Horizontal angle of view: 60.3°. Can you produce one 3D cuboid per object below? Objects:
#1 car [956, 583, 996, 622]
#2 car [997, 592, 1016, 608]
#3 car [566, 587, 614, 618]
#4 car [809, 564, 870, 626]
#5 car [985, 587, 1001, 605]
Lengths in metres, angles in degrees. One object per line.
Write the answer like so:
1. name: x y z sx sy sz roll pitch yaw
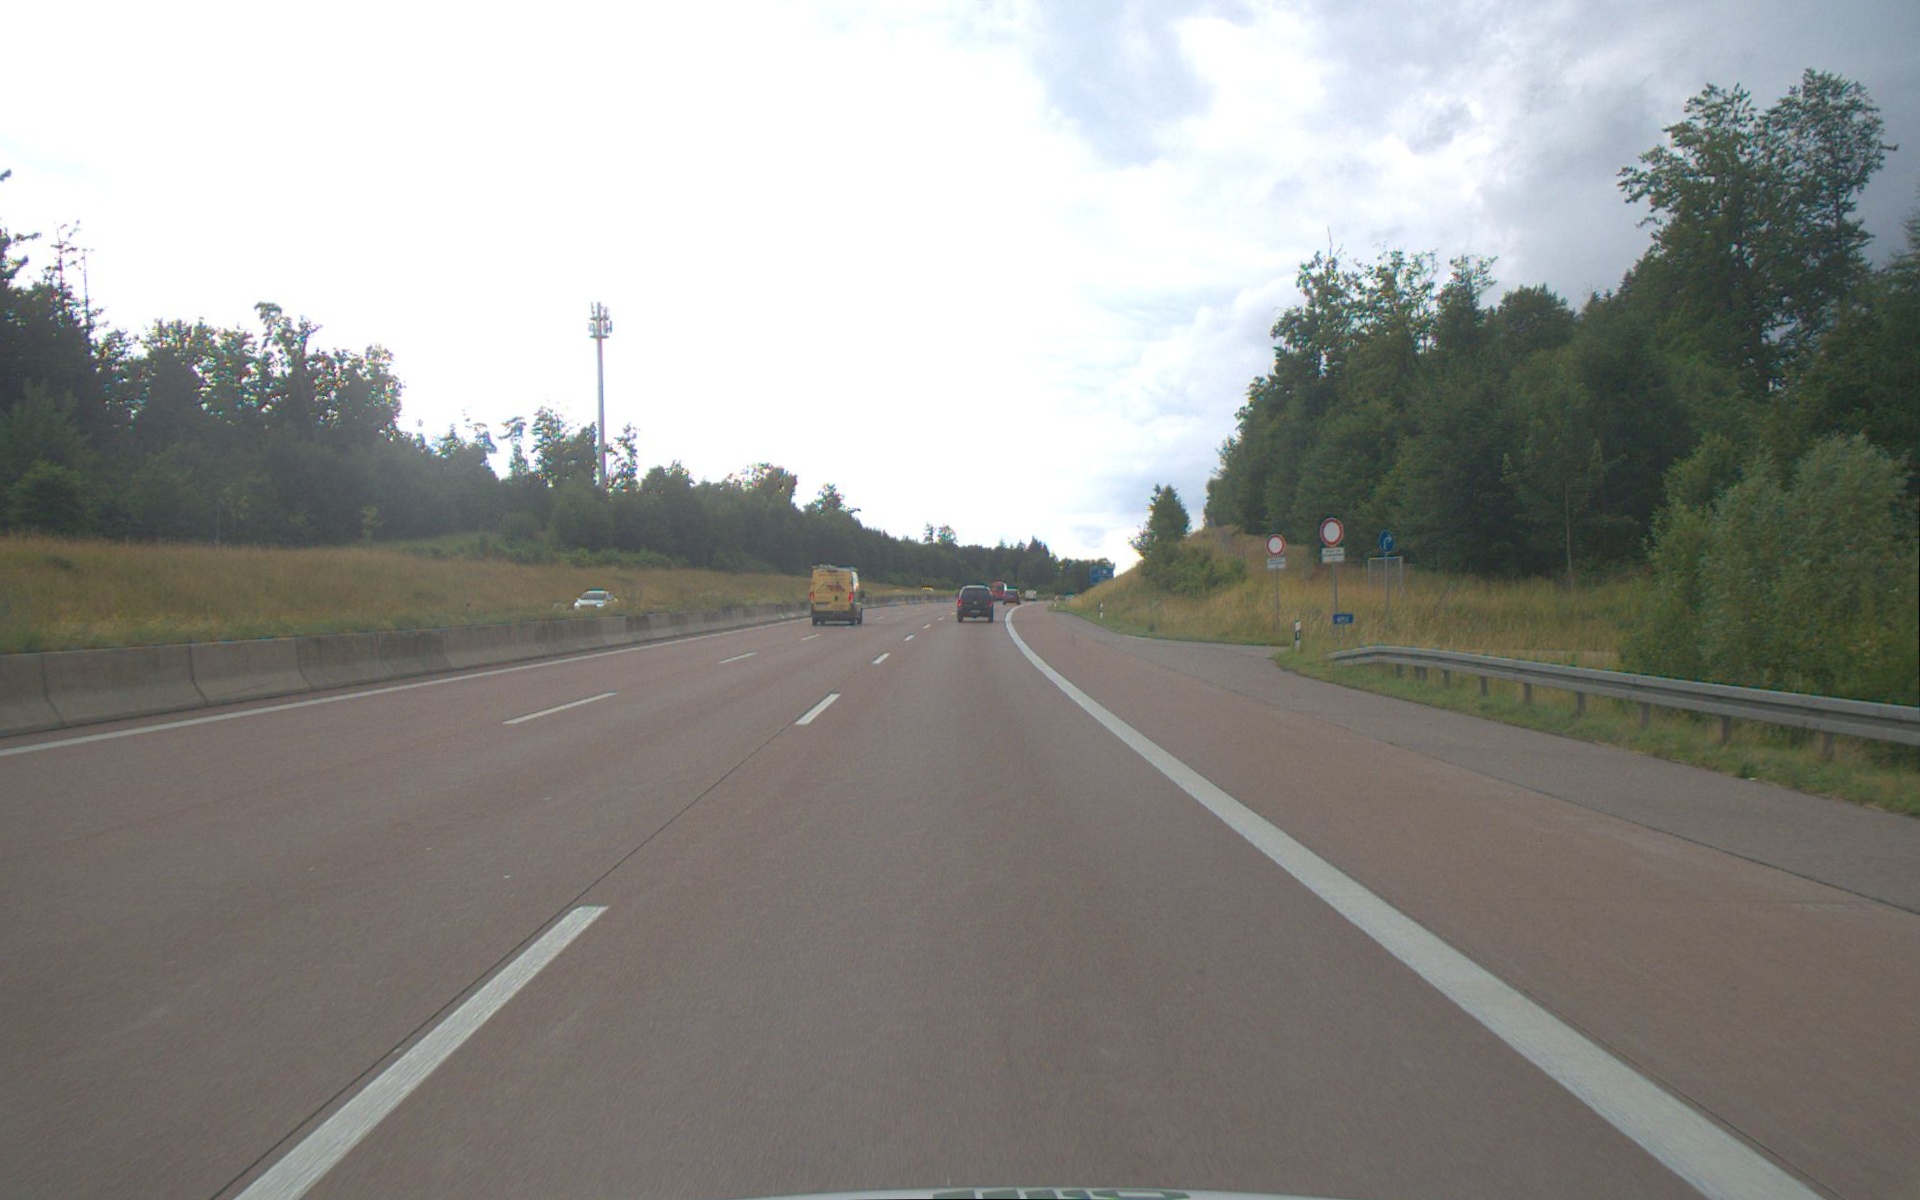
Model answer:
1. car: 0.829 0.163 86.538 2.002 1.930 5.576 0 -1 0
2. car: 5.125 0.022 181.262 1.937 1.677 4.618 0 -1 0
3. car: -20.250 0.143 90.764 1.636 1.552 4.824 1 -2 -2
4. car: -5.622 -0.193 77.829 2.408 2.754 5.613 0 -1 0
5. car: 4.640 -0.582 230.270 2.194 2.472 6.206 0 0 2
